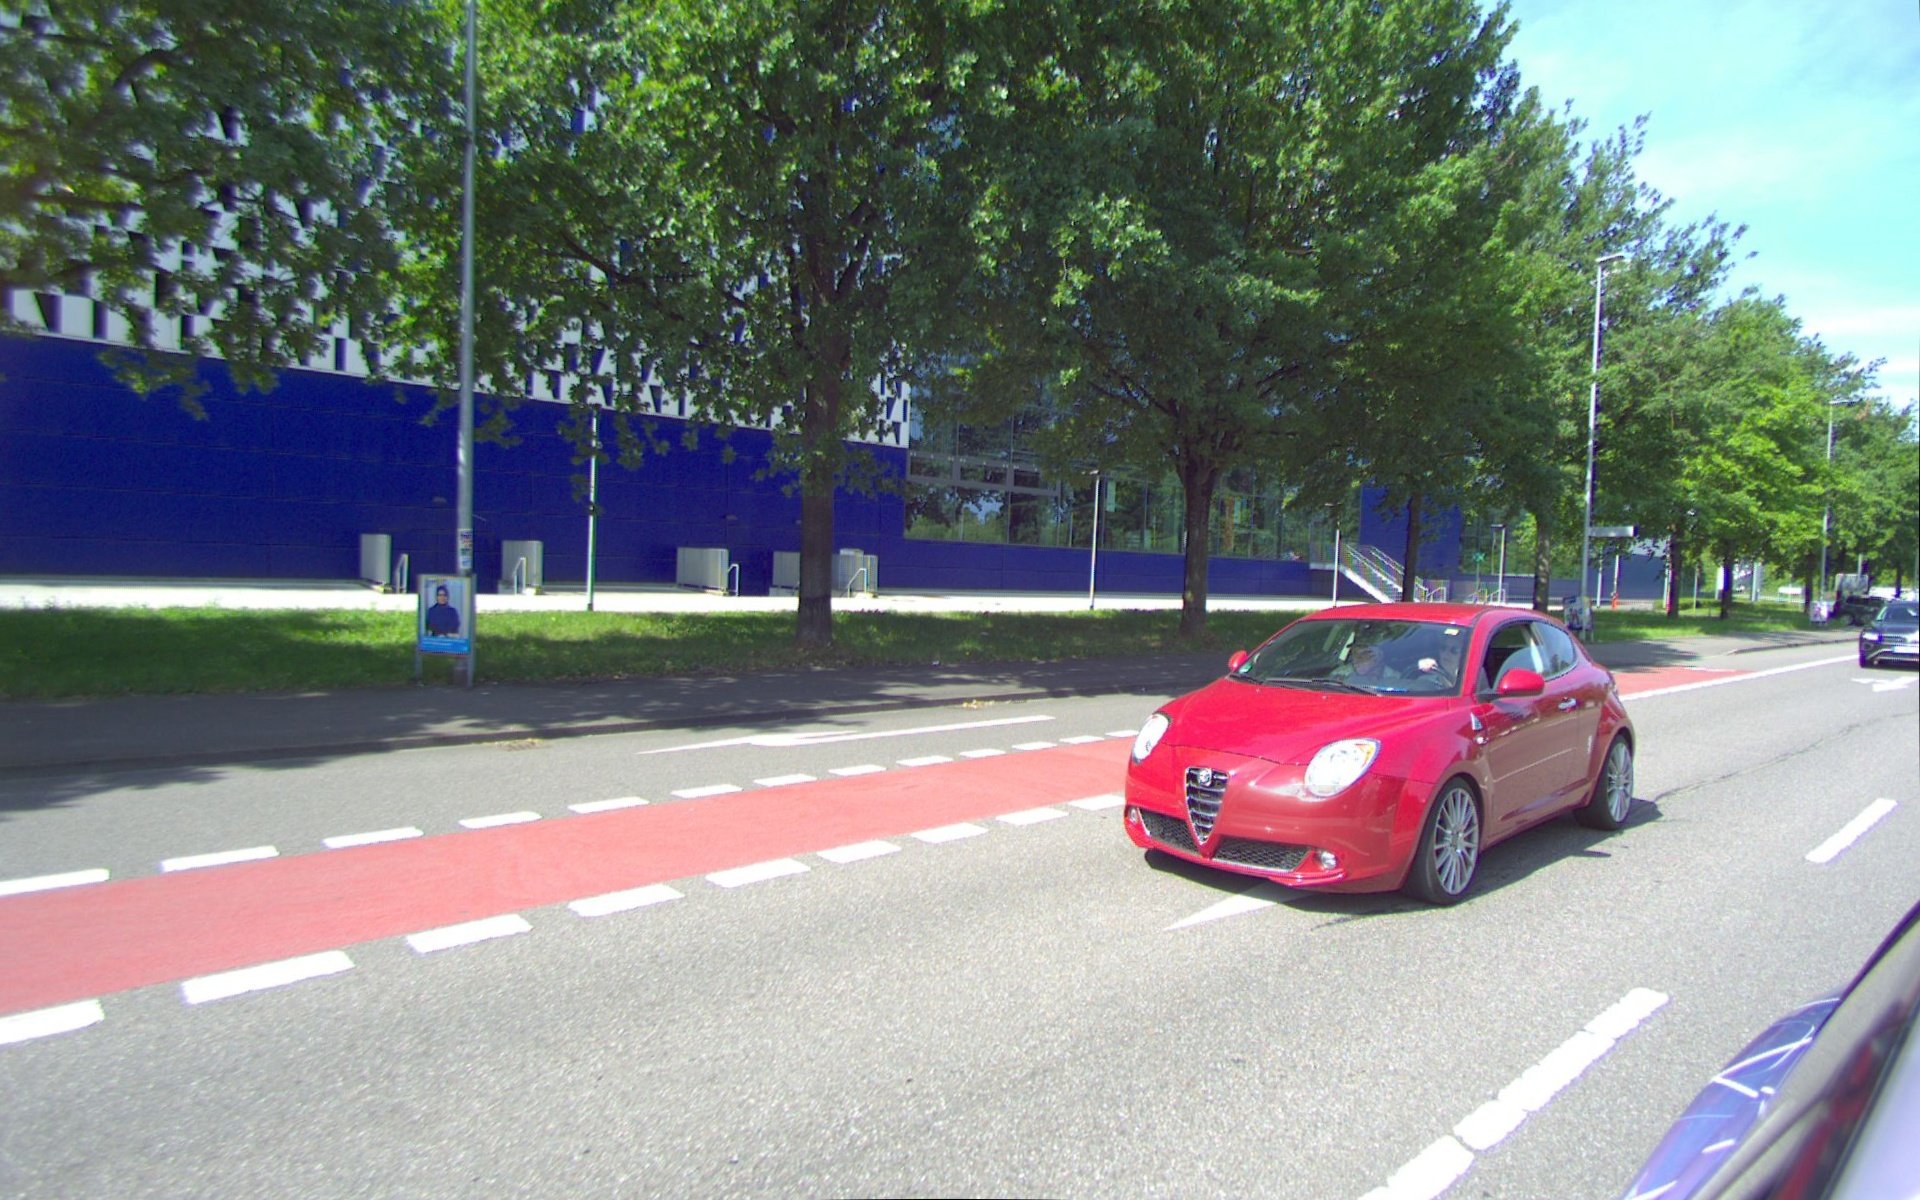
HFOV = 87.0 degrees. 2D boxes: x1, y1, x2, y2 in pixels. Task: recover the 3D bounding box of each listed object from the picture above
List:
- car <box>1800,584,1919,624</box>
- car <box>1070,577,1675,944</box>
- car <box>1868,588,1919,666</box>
[{"bbox_3d":[46.984,0.166,52.784,1.808,1.714,4.464,1,4,-33],"label":"car"},{"bbox_3d":[2.659,0.621,6.092,3.910,1.472,1.797,-1,2,-41],"label":"car"},{"bbox_3d":[22.259,0.594,22.995,4.038,1.662,1.824,0,1,-39],"label":"car"}]
